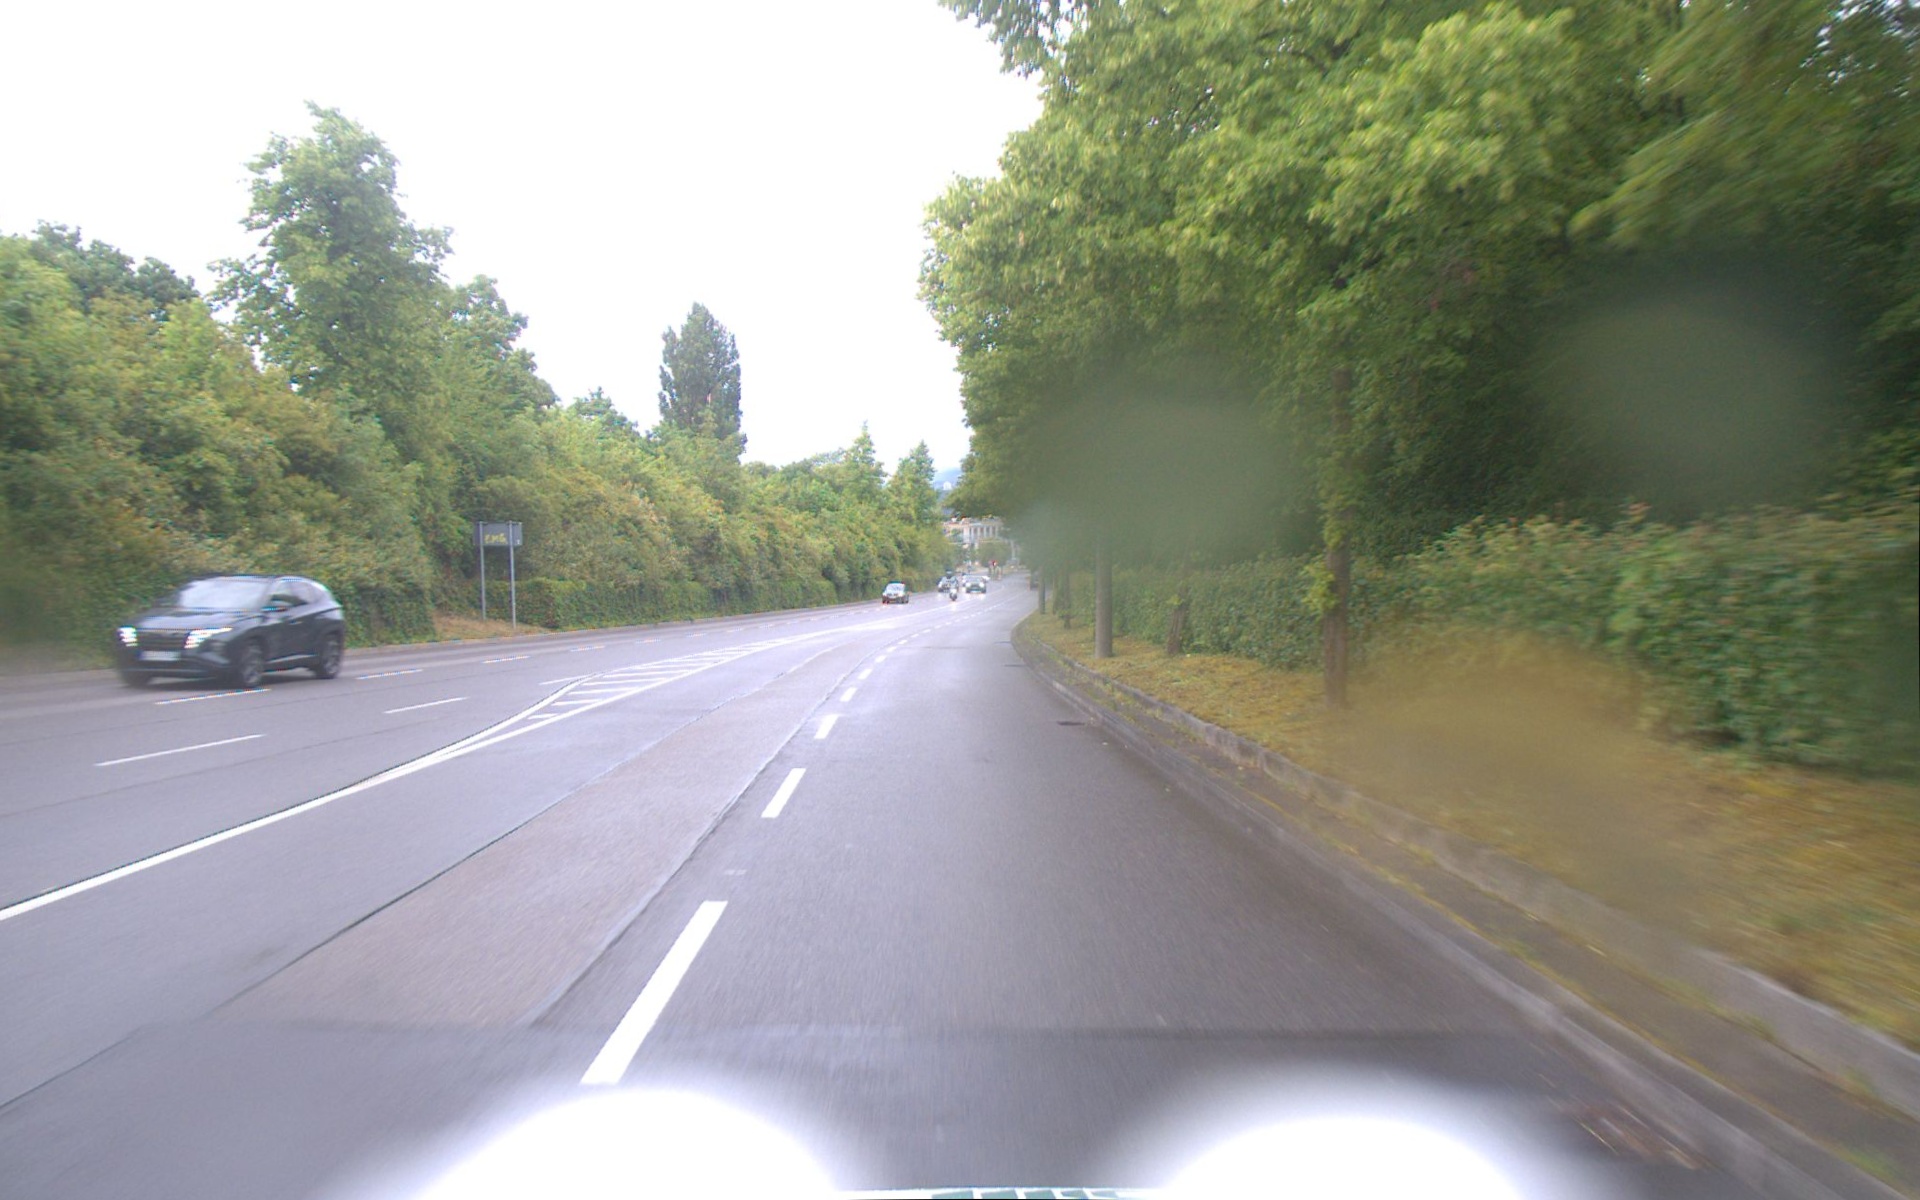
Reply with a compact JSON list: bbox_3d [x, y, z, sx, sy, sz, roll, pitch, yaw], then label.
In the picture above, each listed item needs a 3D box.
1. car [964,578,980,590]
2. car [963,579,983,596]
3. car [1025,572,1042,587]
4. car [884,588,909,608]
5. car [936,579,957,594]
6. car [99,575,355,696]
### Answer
[{"bbox_3d":[1.634,-2.134,222.024,1.723,1.405,4.841,1,2,4],"label":"car"},{"bbox_3d":[1.384,-1.326,171.459,1.774,1.686,4.597,0,1,3],"label":"car"},{"bbox_3d":[8.753,-2.447,196.684,1.810,1.731,3.795,1,0,6],"label":"car"},{"bbox_3d":[-4.623,-0.156,120.647,1.516,1.462,3.698,0,0,3],"label":"car"},{"bbox_3d":[-1.401,-1.422,173.418,1.859,1.580,4.633,1,1,4],"label":"car"},{"bbox_3d":[-10.855,0.464,24.874,1.763,1.634,4.429,1,1,2],"label":"car"}]
